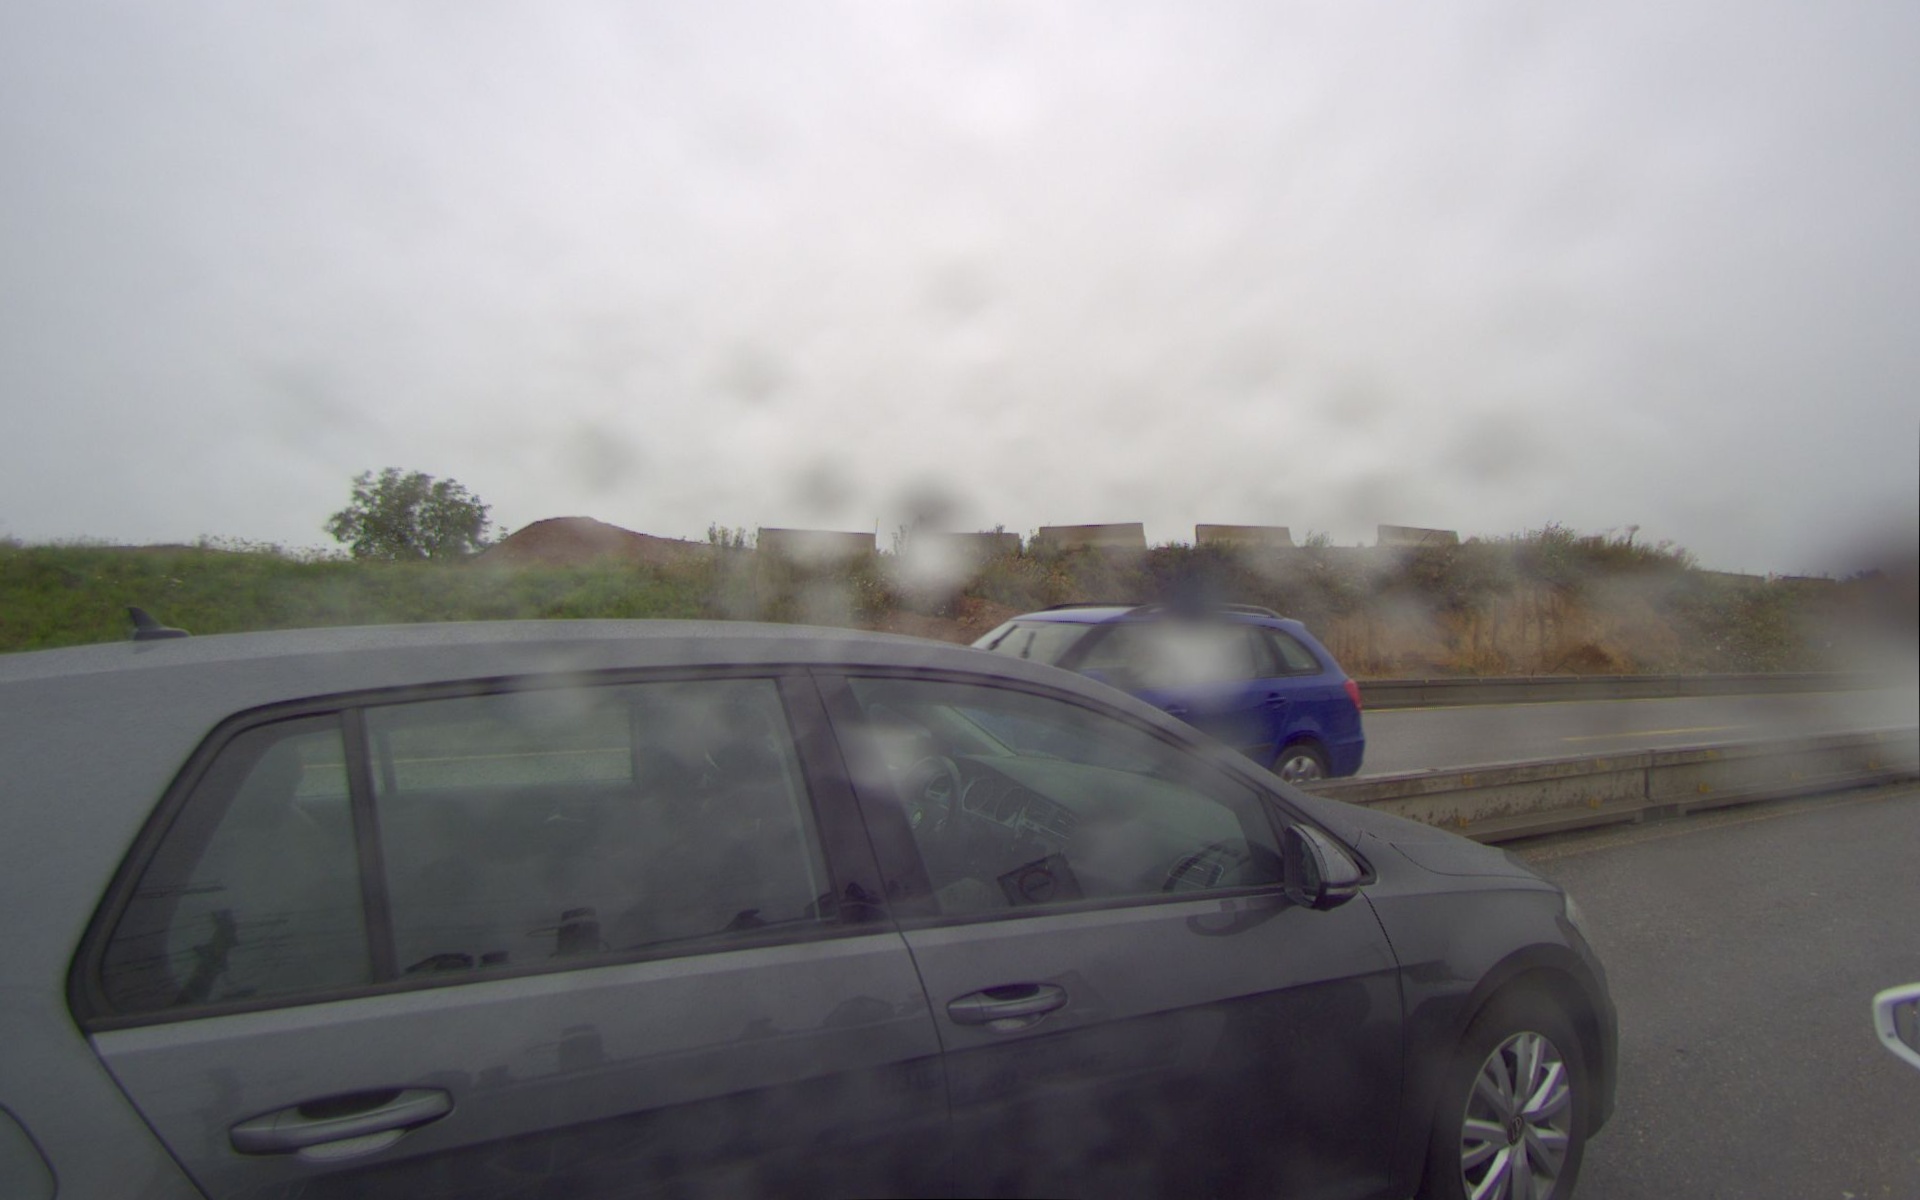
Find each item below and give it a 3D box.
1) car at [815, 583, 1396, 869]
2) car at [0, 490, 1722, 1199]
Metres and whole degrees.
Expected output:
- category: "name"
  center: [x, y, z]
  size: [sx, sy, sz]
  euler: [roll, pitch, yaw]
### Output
- category: "car"
  center: [1.072, 0.705, 6.989]
  size: [3.783, 1.522, 1.642]
  euler: [1, 0, -29]
- category: "car"
  center: [-0.172, 0.728, 2.307]
  size: [4.319, 1.526, 1.606]
  euler: [2, -3, -32]
